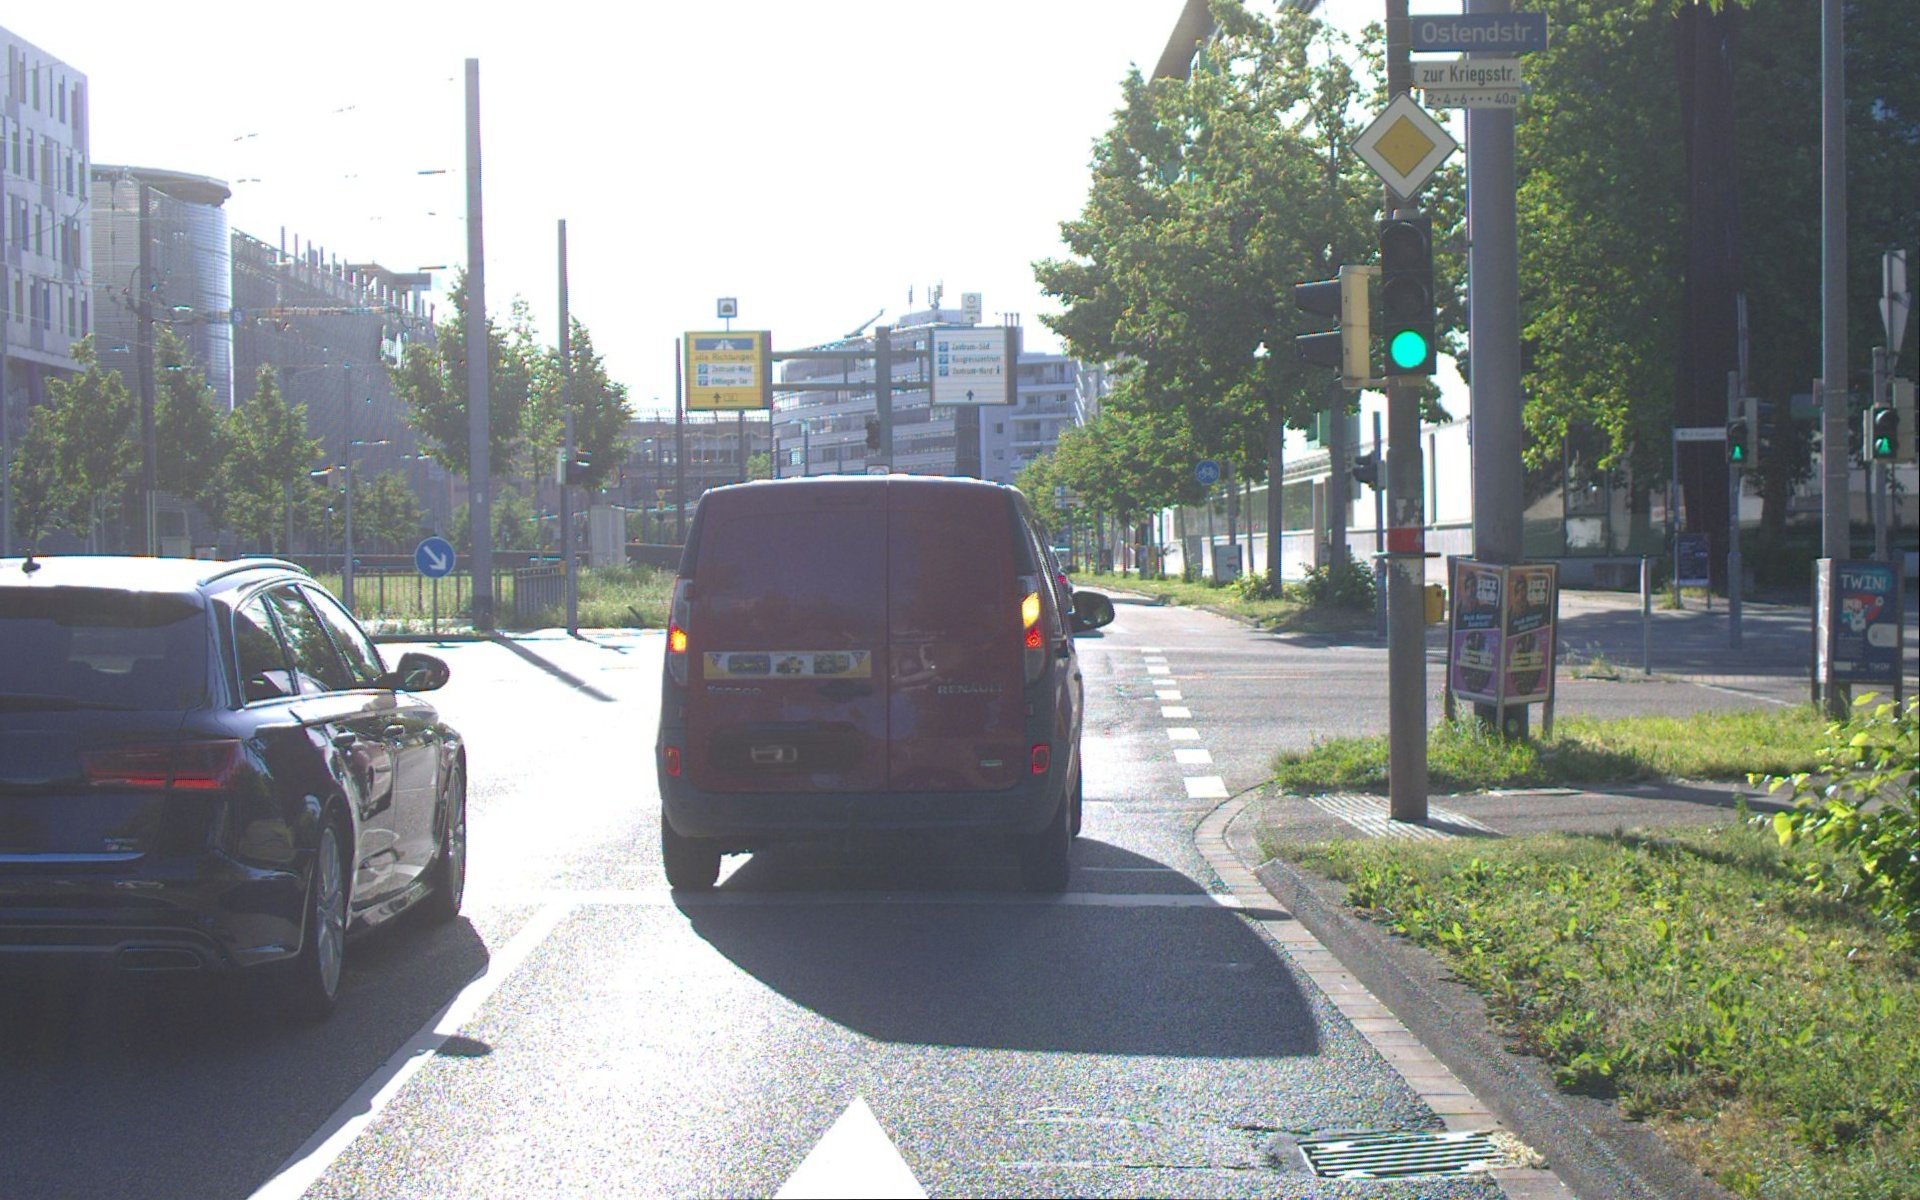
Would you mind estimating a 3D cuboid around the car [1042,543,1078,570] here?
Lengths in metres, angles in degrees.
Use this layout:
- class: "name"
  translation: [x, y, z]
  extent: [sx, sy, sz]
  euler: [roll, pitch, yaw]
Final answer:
- class: "car"
  translation: [5.972, -2.614, 206.478]
  extent: [1.852, 1.476, 4.854]
  euler: [-2, 1, -1]

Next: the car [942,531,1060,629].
- class: "car"
  translation: [0.639, -0.362, 57.010]
  extent: [1.852, 1.541, 4.000]
  euler: [1, 1, 0]

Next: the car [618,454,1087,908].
- class: "car"
  translation: [-0.363, 0.296, 16.028]
  extent: [1.848, 1.808, 4.114]
  euler: [1, 1, 3]

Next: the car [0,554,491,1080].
- class: "car"
  translation: [-2.852, 0.573, 11.906]
  extent: [1.812, 1.422, 4.690]
  euler: [1, 1, 0]
